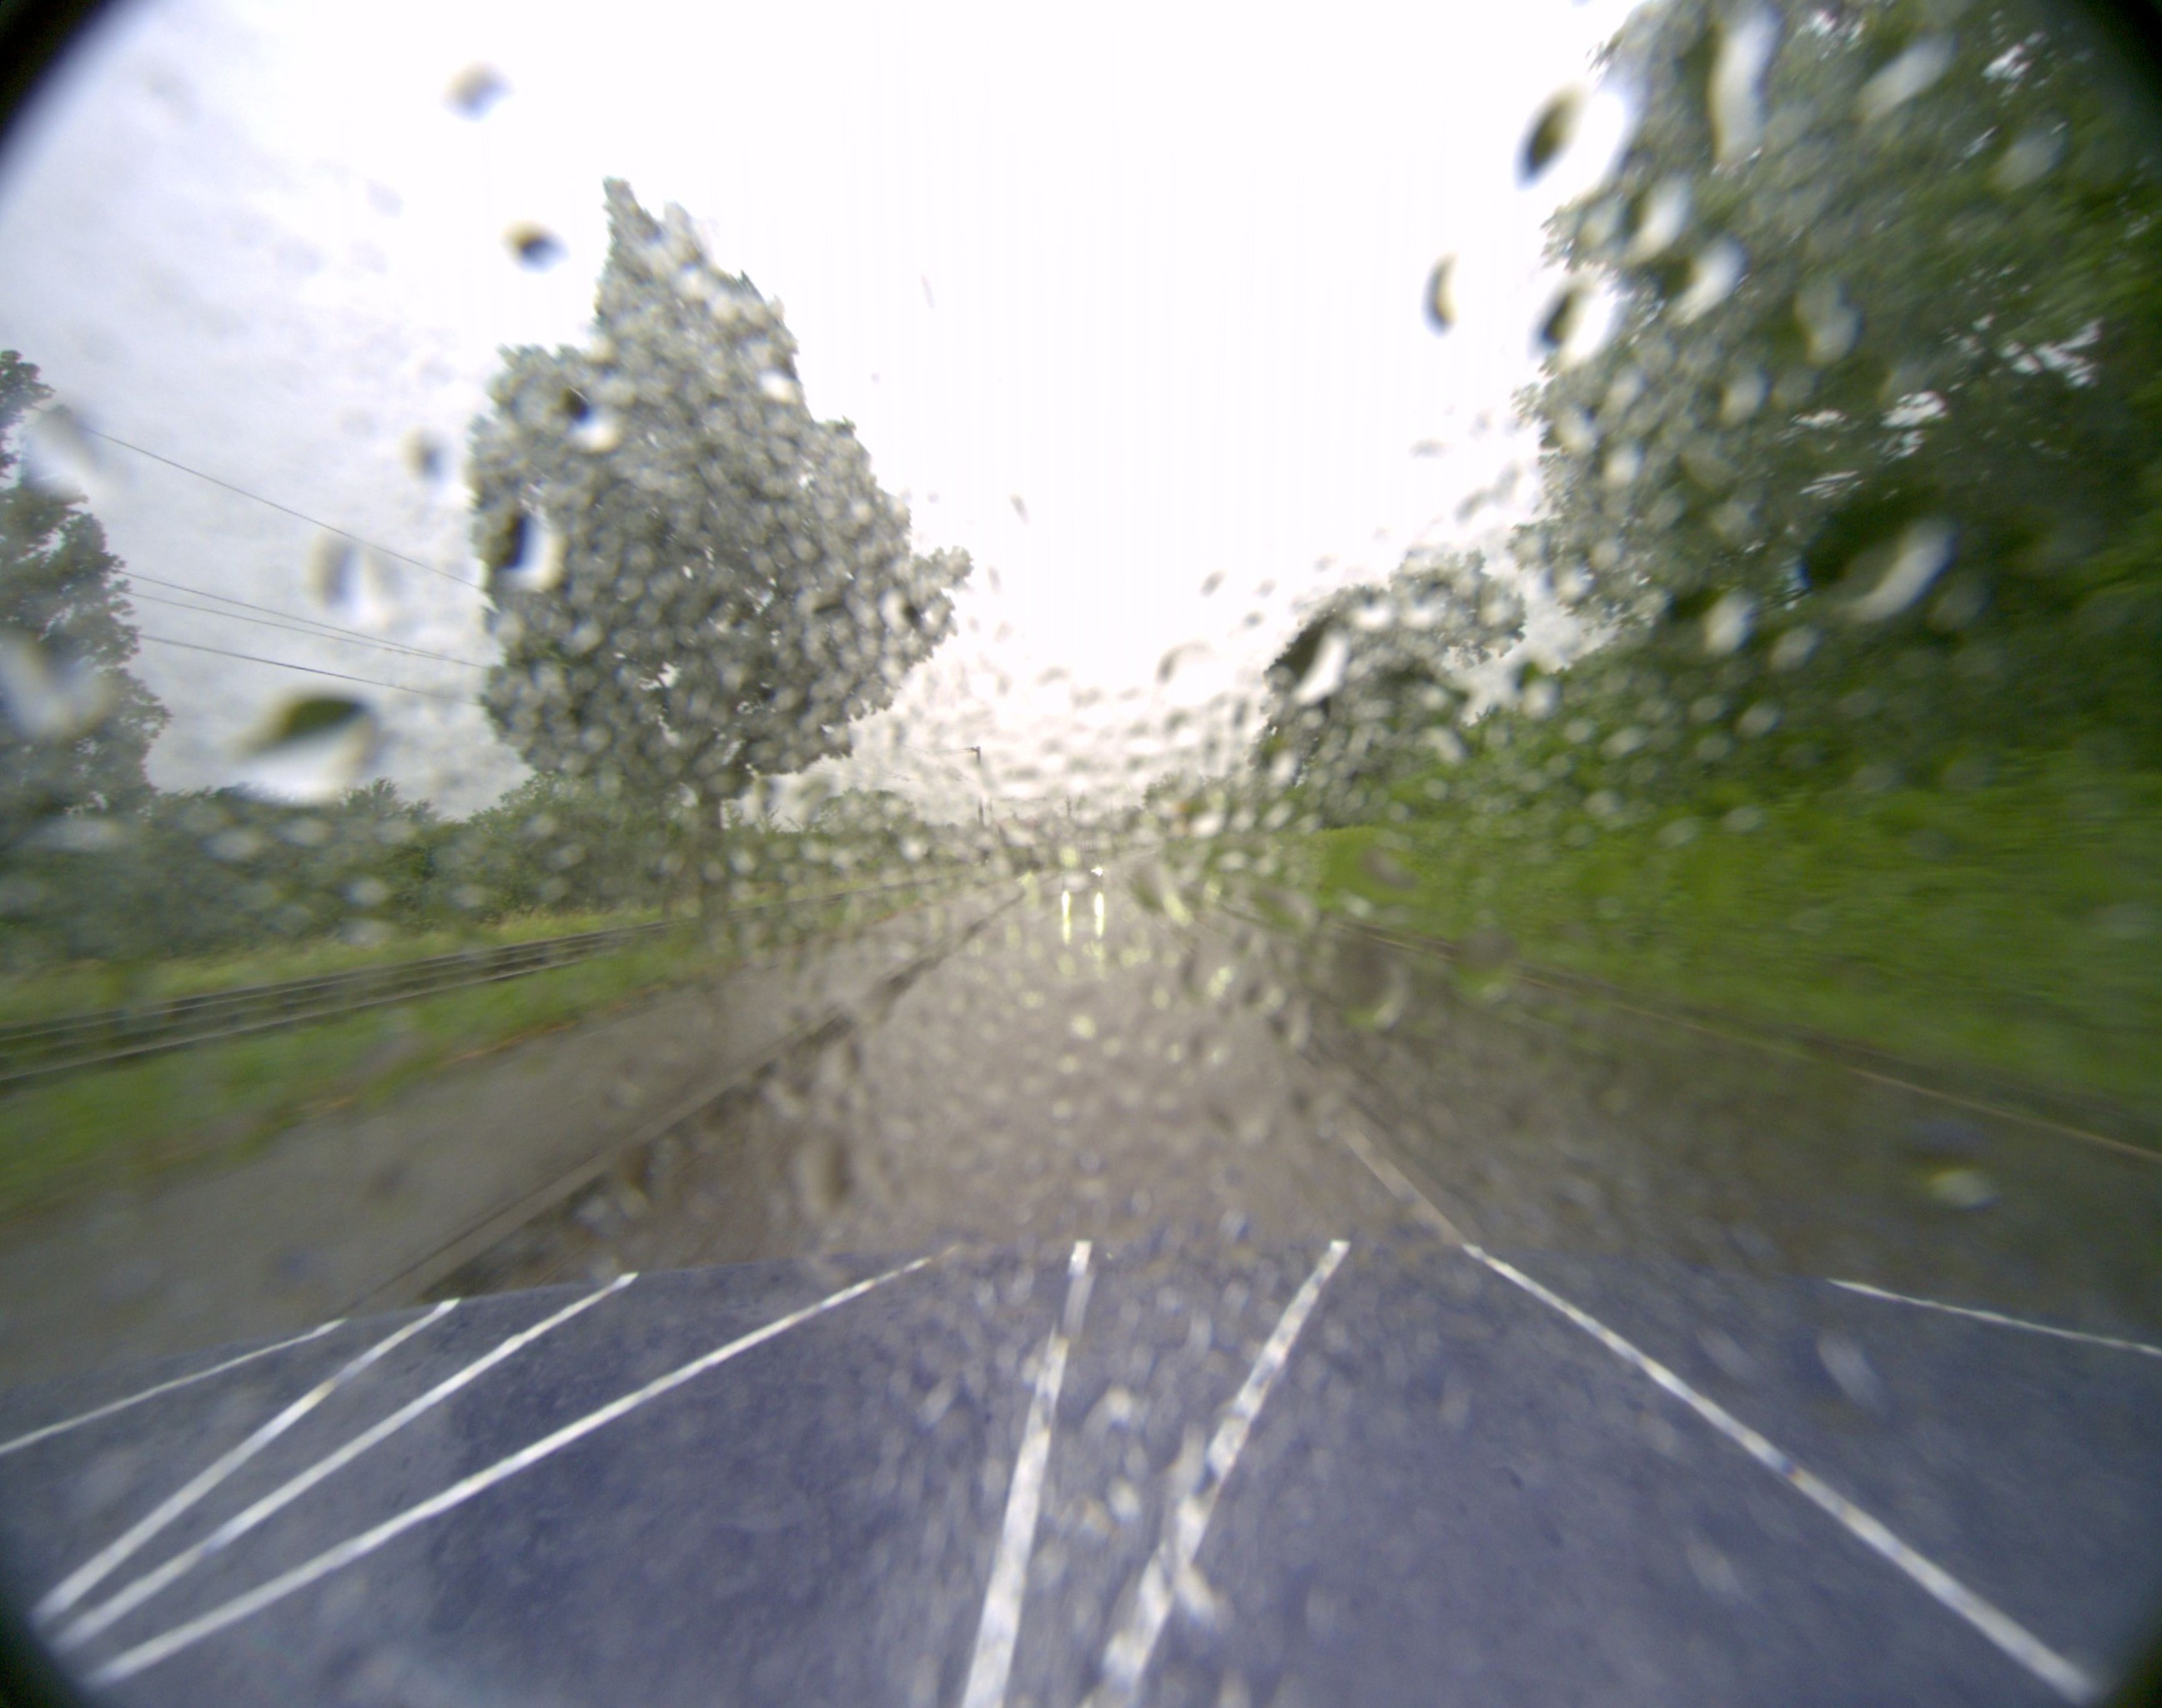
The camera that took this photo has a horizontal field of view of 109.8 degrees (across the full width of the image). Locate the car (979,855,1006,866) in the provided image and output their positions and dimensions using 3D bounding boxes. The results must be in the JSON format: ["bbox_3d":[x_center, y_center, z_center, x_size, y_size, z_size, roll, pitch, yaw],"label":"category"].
[{"bbox_3d":[-15.320,1.139,131.678,4.186,1.629,1.880,-2,3,22],"label":"car"}]

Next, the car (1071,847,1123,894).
[{"bbox_3d":[0.669,0.632,32.694,1.998,1.623,3.998,-3,3,1],"label":"car"}]
